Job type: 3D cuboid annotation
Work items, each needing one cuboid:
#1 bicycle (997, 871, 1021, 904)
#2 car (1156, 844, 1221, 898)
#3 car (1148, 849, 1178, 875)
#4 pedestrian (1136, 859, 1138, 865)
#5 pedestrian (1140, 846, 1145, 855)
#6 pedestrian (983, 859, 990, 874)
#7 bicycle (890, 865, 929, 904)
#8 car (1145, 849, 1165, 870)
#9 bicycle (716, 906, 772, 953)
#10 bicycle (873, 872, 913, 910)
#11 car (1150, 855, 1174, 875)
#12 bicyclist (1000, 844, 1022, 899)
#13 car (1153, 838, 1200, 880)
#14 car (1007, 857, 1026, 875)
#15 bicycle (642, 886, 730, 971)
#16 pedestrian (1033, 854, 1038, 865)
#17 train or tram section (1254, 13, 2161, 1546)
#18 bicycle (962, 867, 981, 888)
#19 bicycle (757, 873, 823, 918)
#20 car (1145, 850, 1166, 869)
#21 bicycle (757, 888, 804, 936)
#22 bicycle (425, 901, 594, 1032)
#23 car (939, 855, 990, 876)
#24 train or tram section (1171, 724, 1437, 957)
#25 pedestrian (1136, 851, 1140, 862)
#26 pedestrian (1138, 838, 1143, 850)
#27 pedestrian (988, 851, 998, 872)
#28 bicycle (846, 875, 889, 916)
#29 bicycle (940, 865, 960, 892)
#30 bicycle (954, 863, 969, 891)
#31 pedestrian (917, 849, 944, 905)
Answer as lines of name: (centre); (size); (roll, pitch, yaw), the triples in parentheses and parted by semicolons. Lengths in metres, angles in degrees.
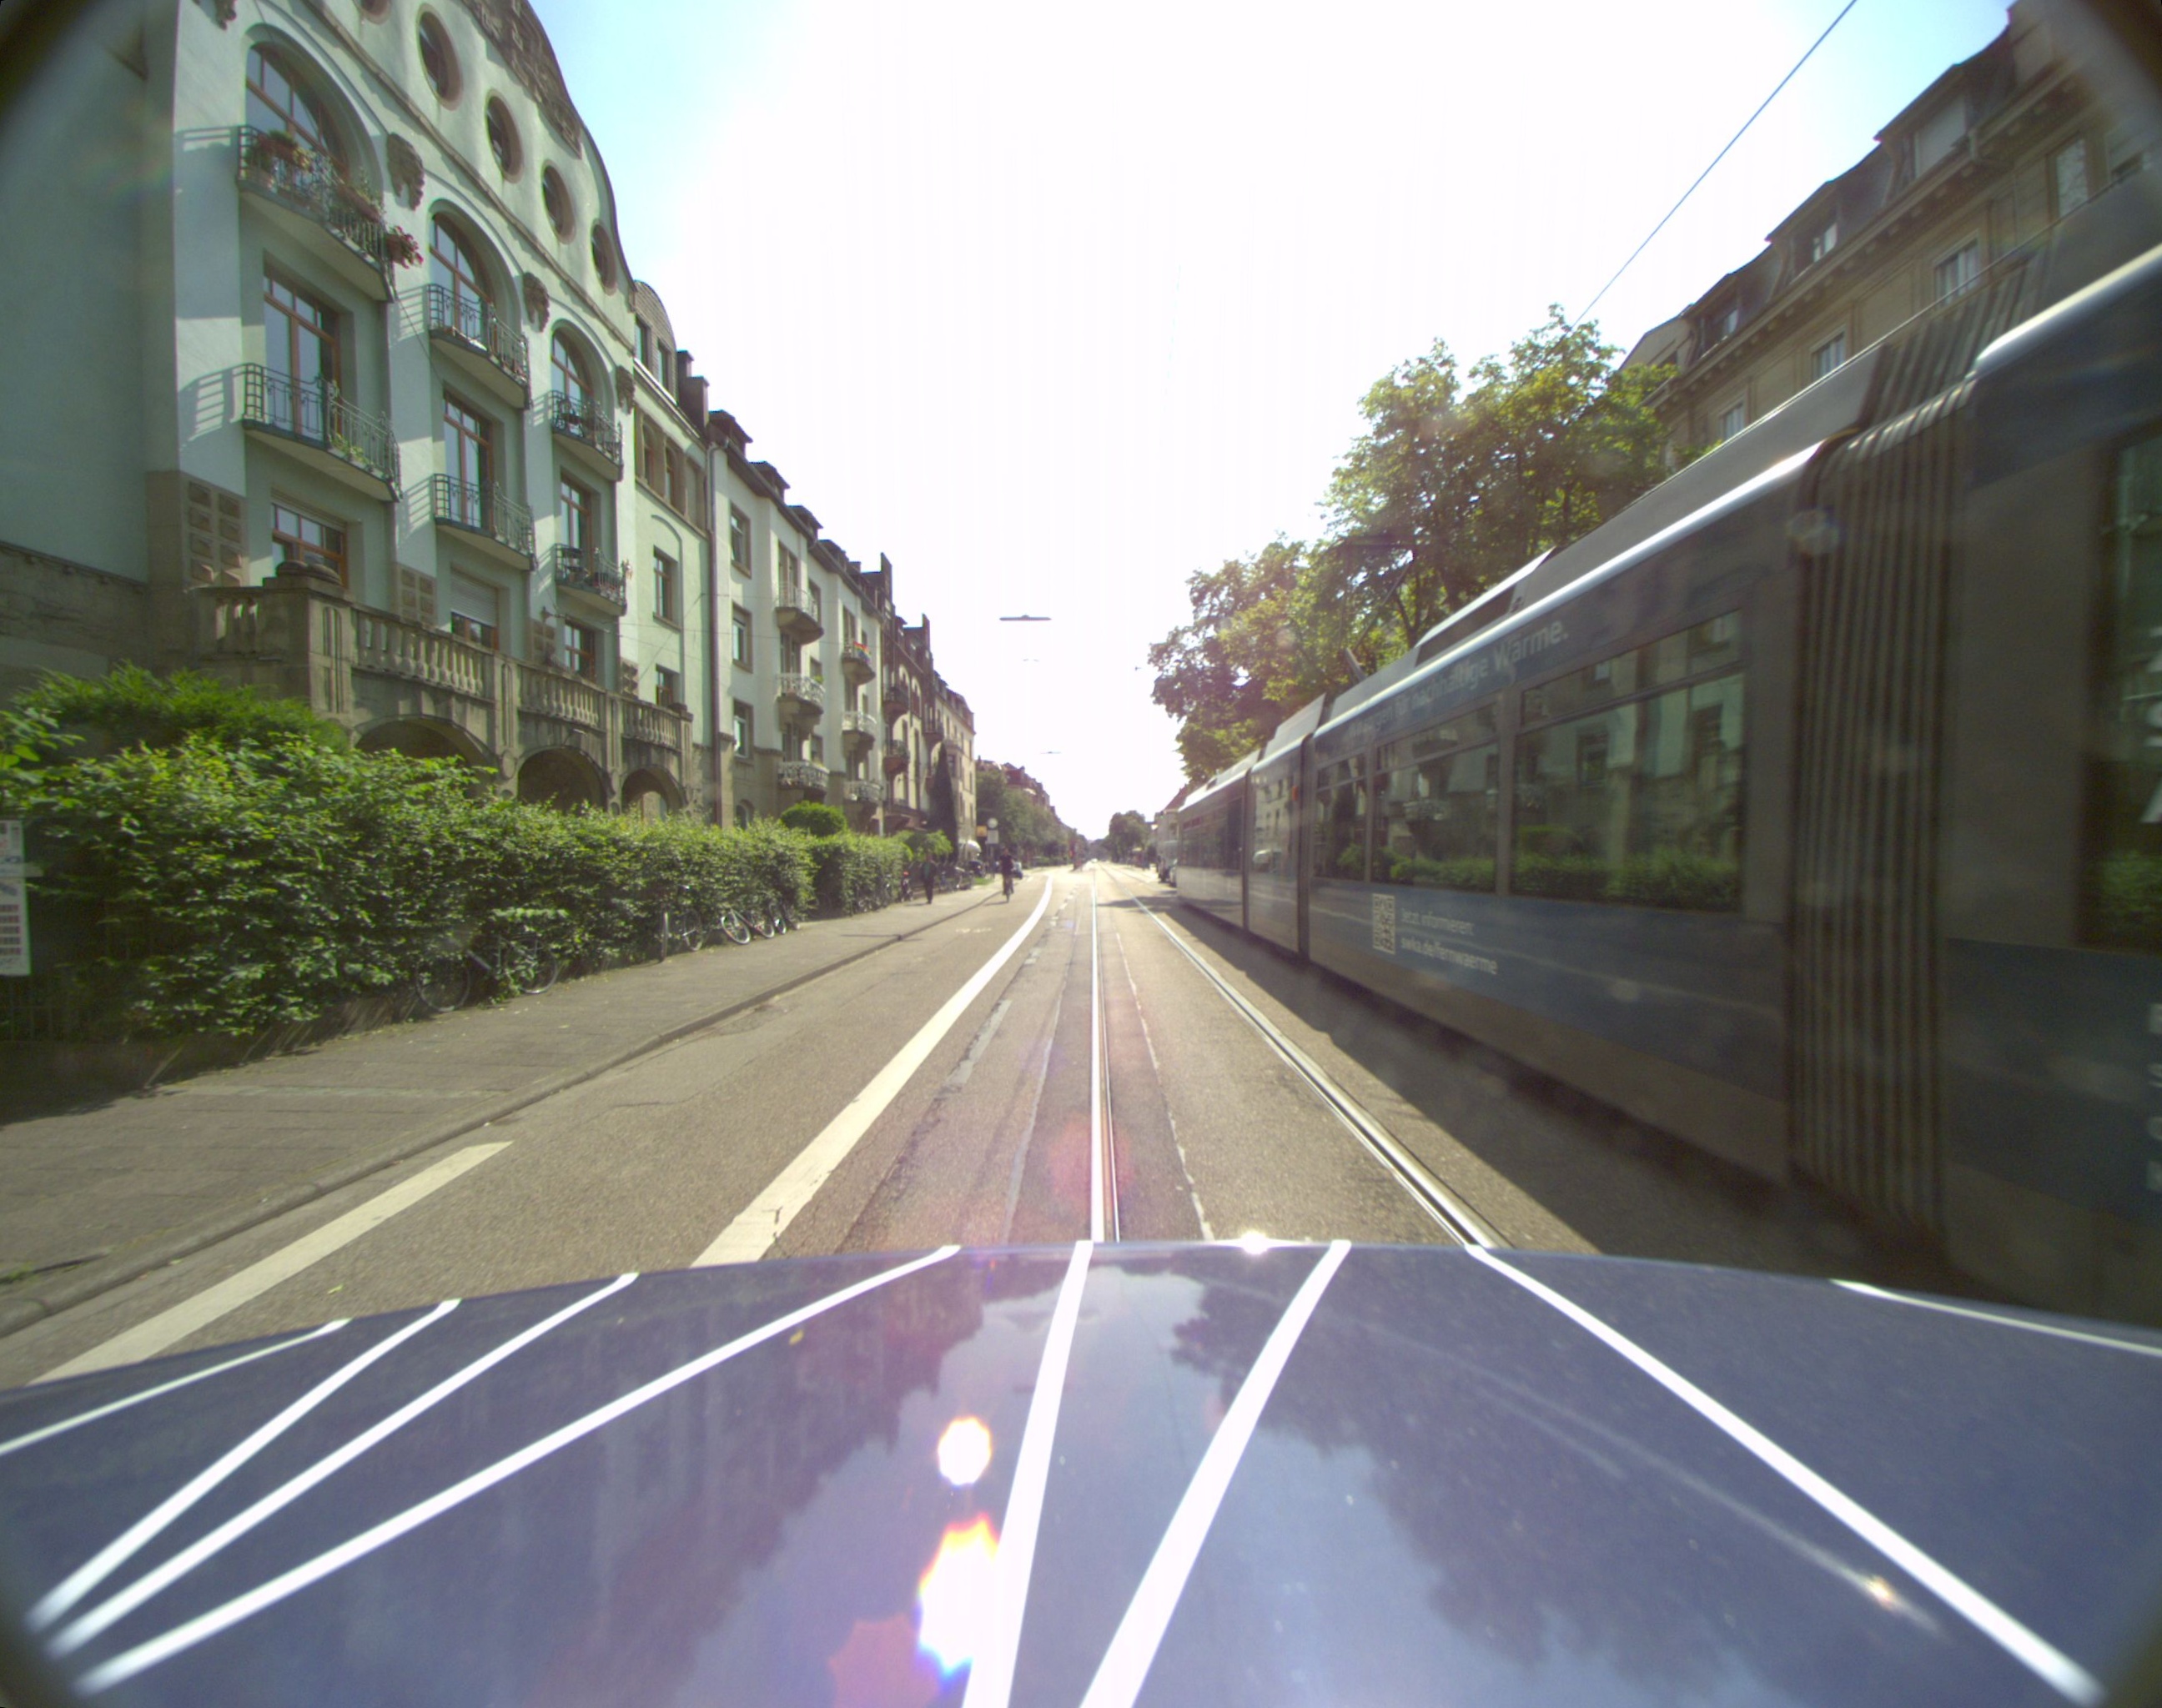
bicycle: (-2.628, 1.206, 27.867); (0.617, 1.039, 1.835); (3, 2, 1)
car: (5.322, 0.781, 38.533); (2.322, 2.493, 6.363); (-1, 0, 0)
car: (6.258, 0.621, 58.528); (1.991, 1.951, 5.180); (0, 0, 2)
pedestrian: (8.589, 1.243, 116.591); (0.340, 0.925, 0.346); (1, 1, -6)
pedestrian: (9.334, -0.549, 115.030); (0.605, 1.329, 0.406); (1, 1, -5)
pedestrian: (-8.599, 1.134, 69.295); (0.571, 1.318, 0.442); (4, 0, -7)
bicycle: (-5.959, 1.022, 26.528); (0.742, 1.224, 2.516); (-1, 1, 0)
car: (8.794, 0.593, 90.299); (1.998, 1.985, 5.085); (-3, 5, 2)
bicycle: (-6.063, 1.340, 13.748); (0.280, 0.673, 1.559); (2, 1, 1)
bicycle: (-5.674, 1.102, 23.055); (0.612, 0.990, 2.362); (2, 1, 1)
car: (7.488, 1.002, 70.415); (1.697, 1.472, 4.479); (2, 3, 0)
bicyclist: (-2.579, 0.622, 28.000); (0.608, 1.937, 1.130); (-3, 1, 1)
car: (6.013, 0.343, 48.734); (2.321, 2.492, 6.364); (-1, -1, 2)
car: (-5.724, 1.051, 67.425); (1.517, 1.490, 2.793); (1, 0, -1)
bicycle: (-6.094, 1.110, 11.833); (0.280, 1.102, 2.010); (2, 1, 1)
pedestrian: (-7.273, 0.871, 122.458); (0.707, 1.644, 0.534); (-3, 1, 1)
train or tram section: (3.784, -0.204, 5.444); (2.659, 3.369, 11.472); (1, 1, 1)
bicycle: (-5.621, 1.195, 39.244); (0.600, 0.955, 3.065); (2, 0, -2)
bicycle: (-7.442, 1.060, 19.444); (1.512, 1.108, 0.356); (1, 1, 0)
car: (8.012, 0.514, 81.776); (1.932, 1.906, 5.124); (2, 1, 2)
bicycle: (-6.278, 1.198, 15.930); (0.274, 0.901, 1.669); (2, -1, 1)
bicycle: (-6.143, 1.147, 8.315); (0.280, 1.102, 2.010); (2, 1, 1)
car: (-8.647, 0.826, 56.528); (3.409, 1.515, 1.972); (1, 1, 3)
train or tram section: (4.012, -0.212, 17.360); (2.659, 3.416, 12.315); (1, 0, 1)
pedestrian: (8.685, 0.331, 116.622); (0.498, 1.660, 0.678); (1, 1, -5)
pedestrian: (8.718, -1.494, 111.085); (0.473, 1.647, 0.746); (4, 1, 0)
pedestrian: (-8.038, 0.667, 69.340); (0.661, 1.831, 0.873); (6, 0, -7)
bicycle: (-5.788, 1.105, 20.657); (0.614, 0.983, 1.872); (1, 1, 1)
bicycle: (-5.684, 1.045, 33.018); (0.452, 1.116, 1.844); (1, 0, 2)
bicycle: (-5.502, 1.055, 35.052); (0.452, 1.253, 1.843); (1, 0, -2)
pedestrian: (-5.091, 0.765, 25.721); (0.790, 1.851, 0.579); (1, 1, -6)
